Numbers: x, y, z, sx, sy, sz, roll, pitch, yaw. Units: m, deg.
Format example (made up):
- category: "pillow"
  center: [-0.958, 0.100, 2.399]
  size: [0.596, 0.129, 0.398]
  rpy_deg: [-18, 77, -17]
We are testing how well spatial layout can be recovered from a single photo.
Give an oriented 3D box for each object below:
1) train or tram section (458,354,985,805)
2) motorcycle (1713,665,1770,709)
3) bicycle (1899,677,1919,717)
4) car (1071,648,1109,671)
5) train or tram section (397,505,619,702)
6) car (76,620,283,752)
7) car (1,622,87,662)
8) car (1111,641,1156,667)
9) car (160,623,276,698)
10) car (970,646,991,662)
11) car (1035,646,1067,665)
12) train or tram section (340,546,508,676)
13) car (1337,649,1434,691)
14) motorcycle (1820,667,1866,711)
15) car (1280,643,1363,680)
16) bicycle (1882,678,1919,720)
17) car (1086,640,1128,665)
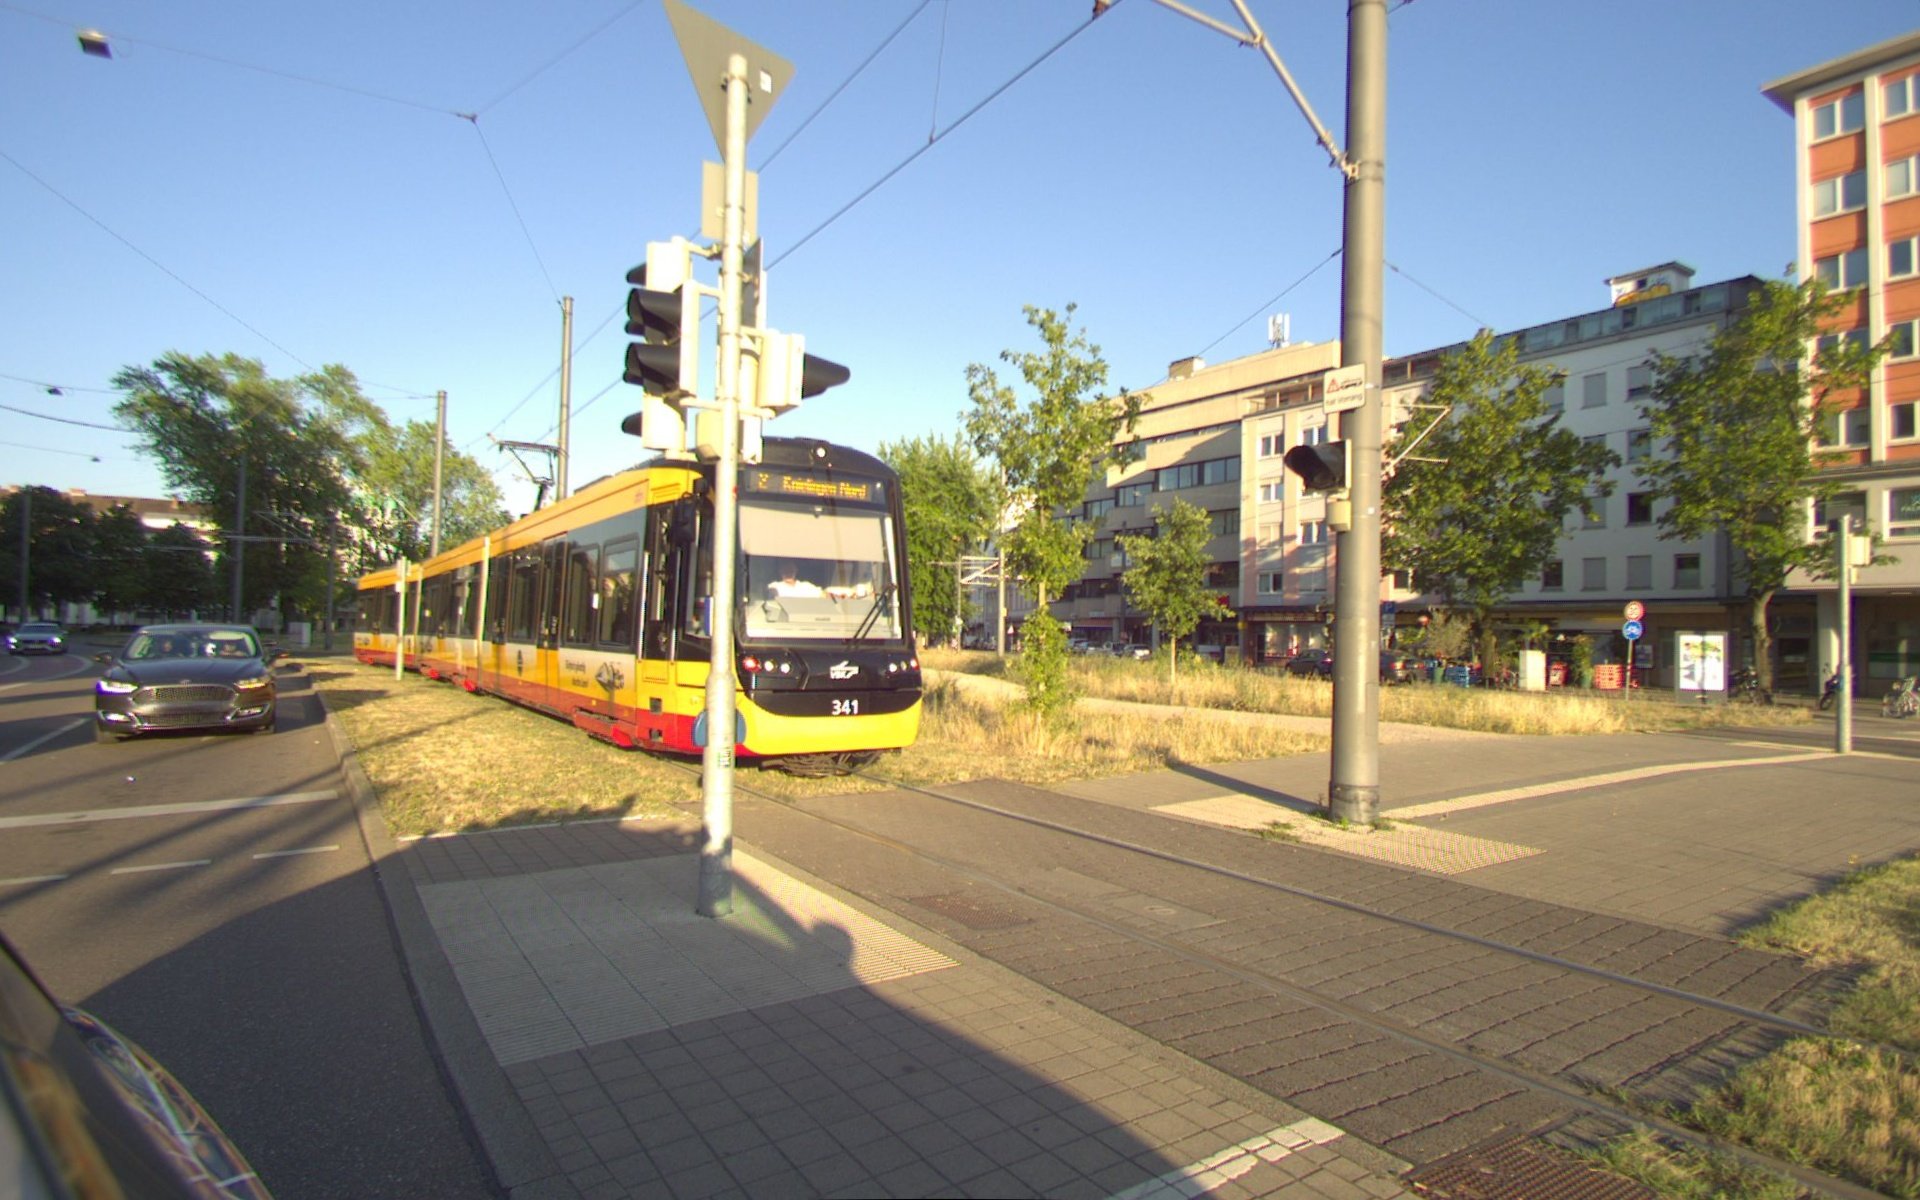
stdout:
- category: "train or tram section"
  center: [-4.670, 0.007, 14.731]
  size: [2.869, 3.767, 13.252]
  rpy_deg: [2, -3, -34]
- category: "motorcycle"
  center: [25.011, 2.772, 32.406]
  size: [0.375, 1.328, 1.394]
  rpy_deg: [2, -3, -31]
- category: "bicycle"
  center: [27.103, 2.682, 27.689]
  size: [0.461, 1.083, 2.001]
  rpy_deg: [2, -3, -34]
- category: "car"
  center: [10.942, 5.005, 85.544]
  size: [1.967, 1.853, 4.010]
  rpy_deg: [1, -2, -12]
- category: "train or tram section"
  center: [-11.687, 0.239, 25.140]
  size: [2.838, 3.767, 12.215]
  rpy_deg: [2, -3, -34]
- category: "car"
  center: [-10.558, 1.069, 14.029]
  size: [1.860, 1.497, 4.738]
  rpy_deg: [2, -3, -33]
- category: "car"
  center: [-42.051, 1.926, 46.547]
  size: [1.965, 1.763, 4.012]
  rpy_deg: [2, -3, -28]
- category: "car"
  center: [12.712, 3.950, 74.390]
  size: [1.894, 1.878, 4.009]
  rpy_deg: [1, -2, -12]
- category: "car"
  center: [-17.029, 1.341, 23.430]
  size: [1.866, 1.547, 4.718]
  rpy_deg: [2, -3, -33]
- category: "car"
  center: [2.509, 6.768, 126.719]
  size: [1.968, 1.892, 3.910]
  rpy_deg: [1, -2, -8]
- category: "car"
  center: [8.734, 5.292, 97.572]
  size: [1.967, 1.723, 4.009]
  rpy_deg: [1, -2, -12]
- category: "train or tram section"
  center: [-18.773, 0.487, 34.856]
  size: [2.868, 3.767, 12.215]
  rpy_deg: [2, -3, -38]
- category: "car"
  center: [18.592, 3.050, 44.430]
  size: [1.967, 1.697, 4.010]
  rpy_deg: [1, -2, -13]
- category: "motorcycle"
  center: [27.661, 2.782, 31.711]
  size: [1.804, 1.328, 0.547]
  rpy_deg: [2, -3, -32]
- category: "car"
  center: [17.694, 2.979, 49.704]
  size: [1.966, 1.714, 4.010]
  rpy_deg: [1, -2, -14]
- category: "bicycle"
  center: [25.796, 2.648, 26.832]
  size: [0.461, 1.083, 1.912]
  rpy_deg: [2, -3, -34]
- category: "car"
  center: [11.553, 4.074, 79.612]
  size: [1.967, 1.876, 4.009]
  rpy_deg: [1, -2, -12]
